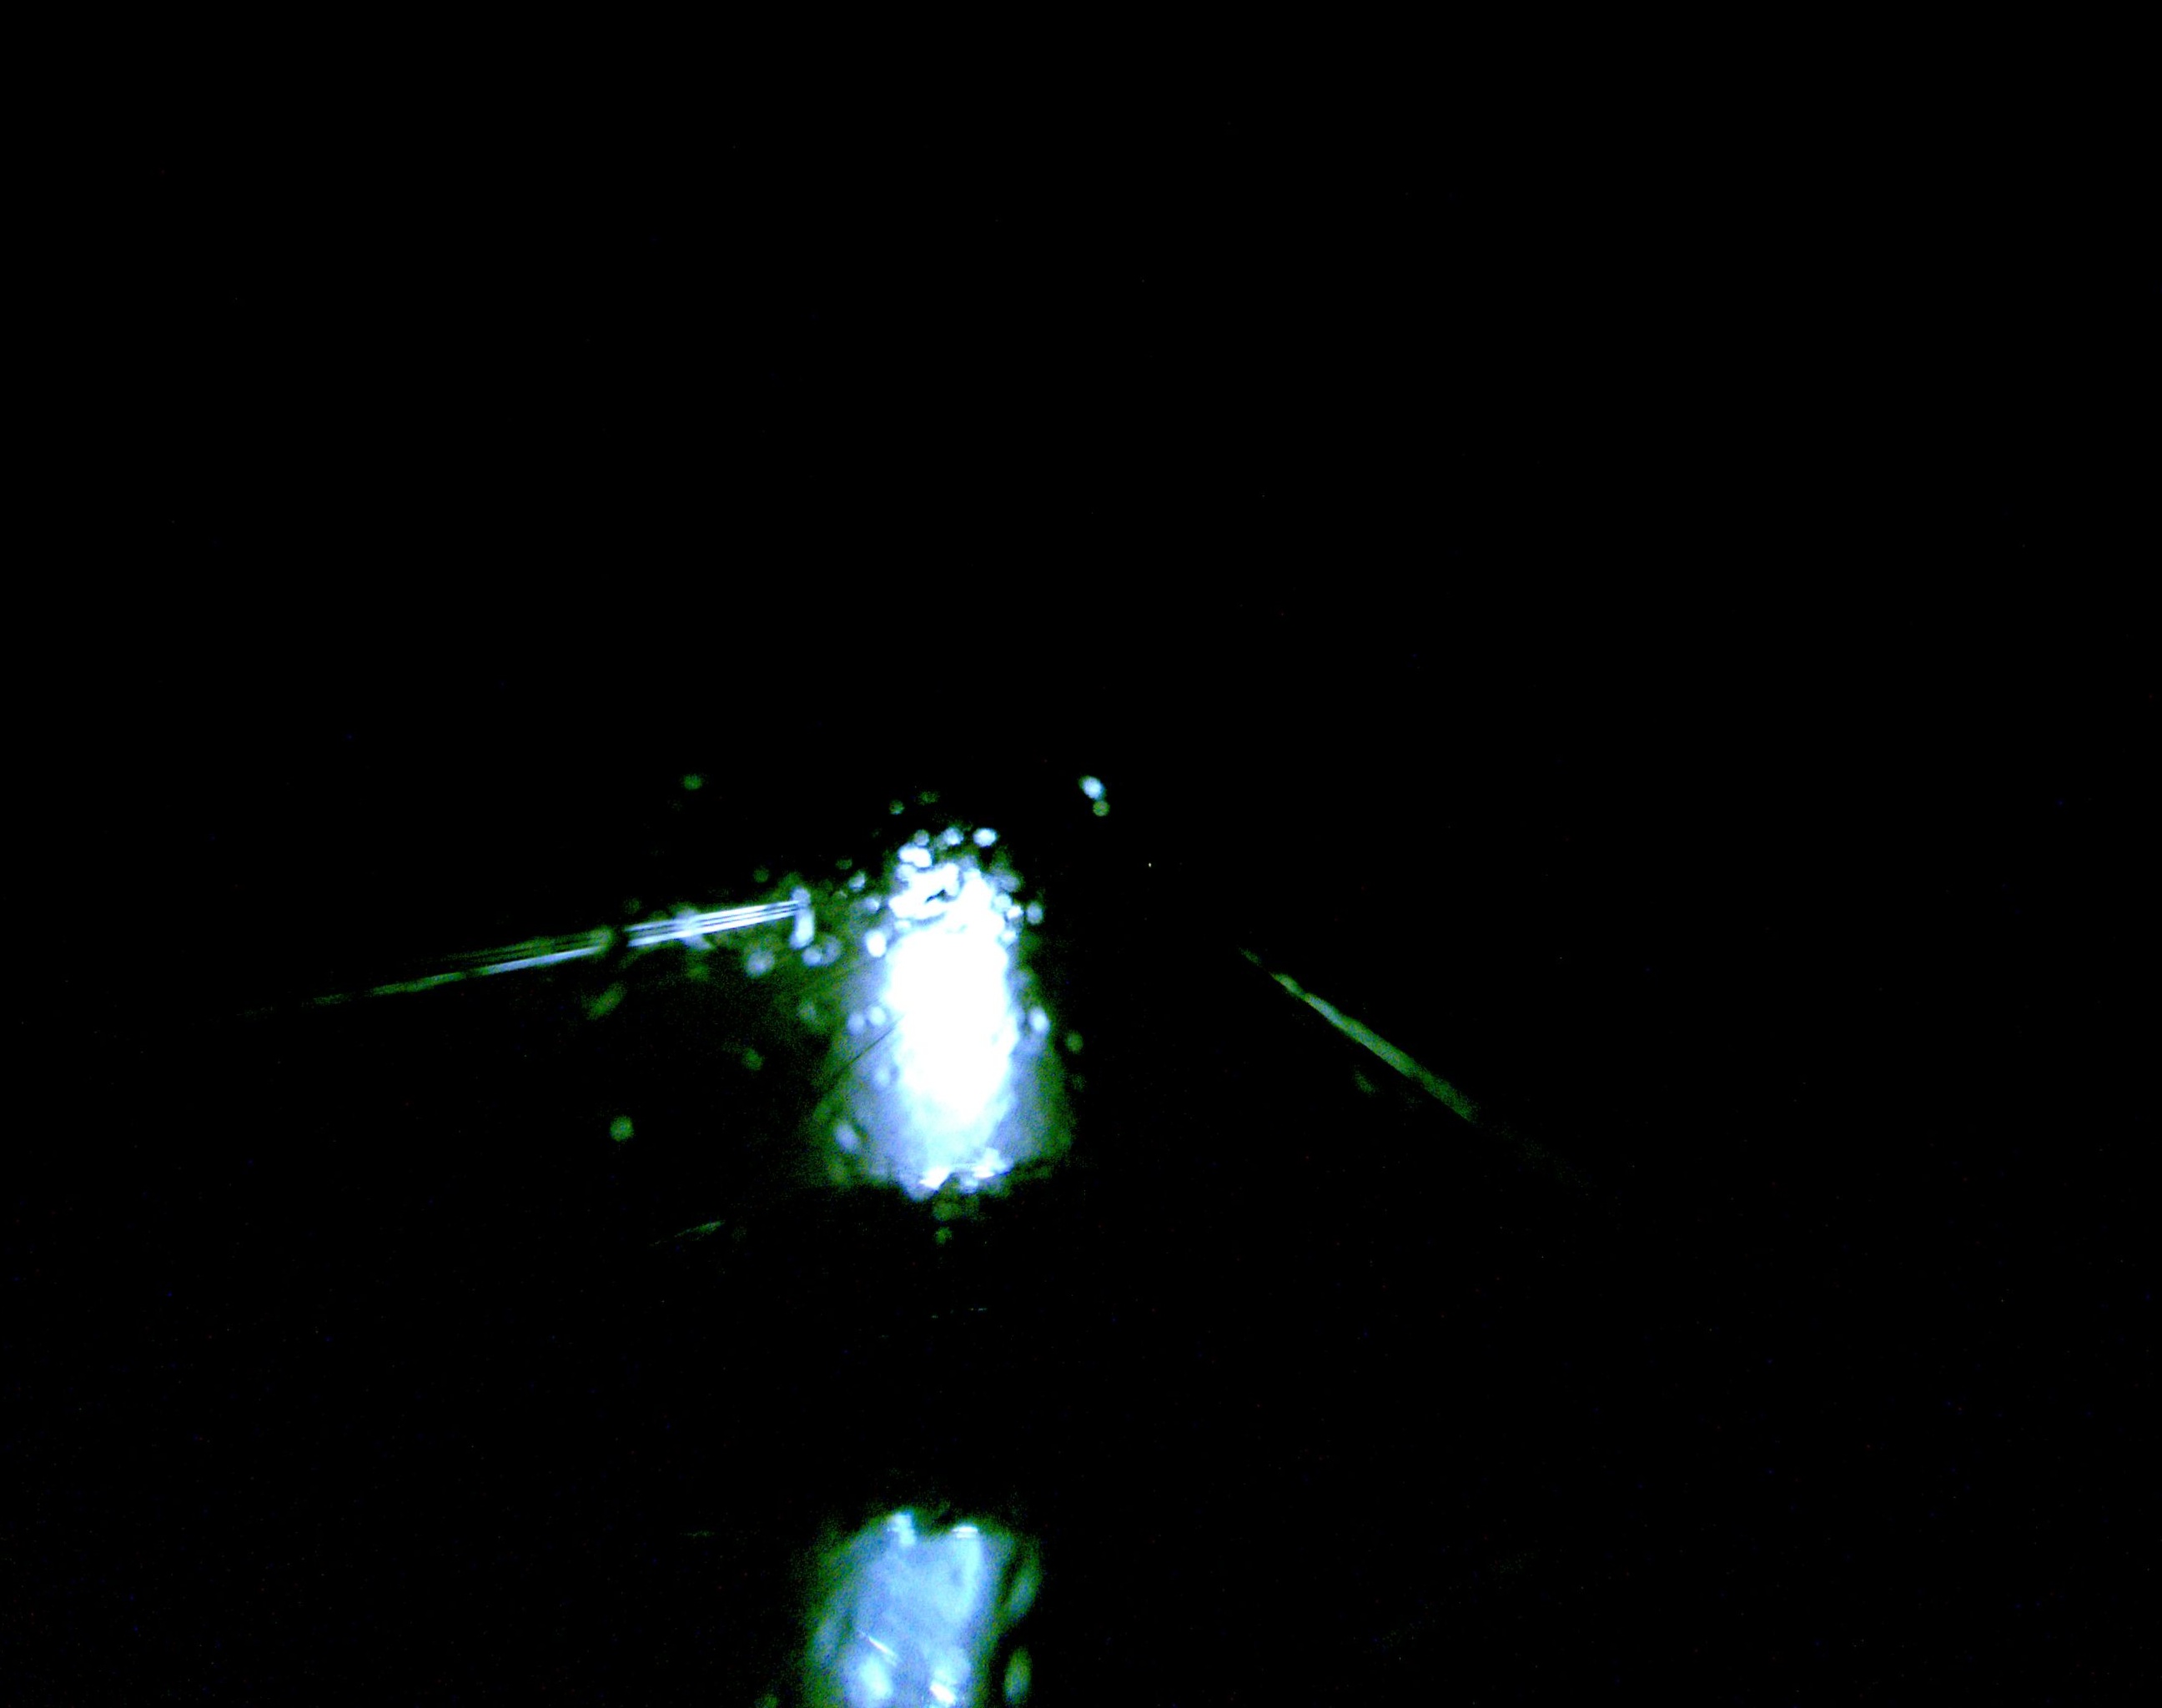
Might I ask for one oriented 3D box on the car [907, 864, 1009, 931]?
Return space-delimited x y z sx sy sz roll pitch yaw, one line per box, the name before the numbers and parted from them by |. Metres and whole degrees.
car | -2.986 1.018 20.630 1.830 1.471 4.391 1 -1 1
